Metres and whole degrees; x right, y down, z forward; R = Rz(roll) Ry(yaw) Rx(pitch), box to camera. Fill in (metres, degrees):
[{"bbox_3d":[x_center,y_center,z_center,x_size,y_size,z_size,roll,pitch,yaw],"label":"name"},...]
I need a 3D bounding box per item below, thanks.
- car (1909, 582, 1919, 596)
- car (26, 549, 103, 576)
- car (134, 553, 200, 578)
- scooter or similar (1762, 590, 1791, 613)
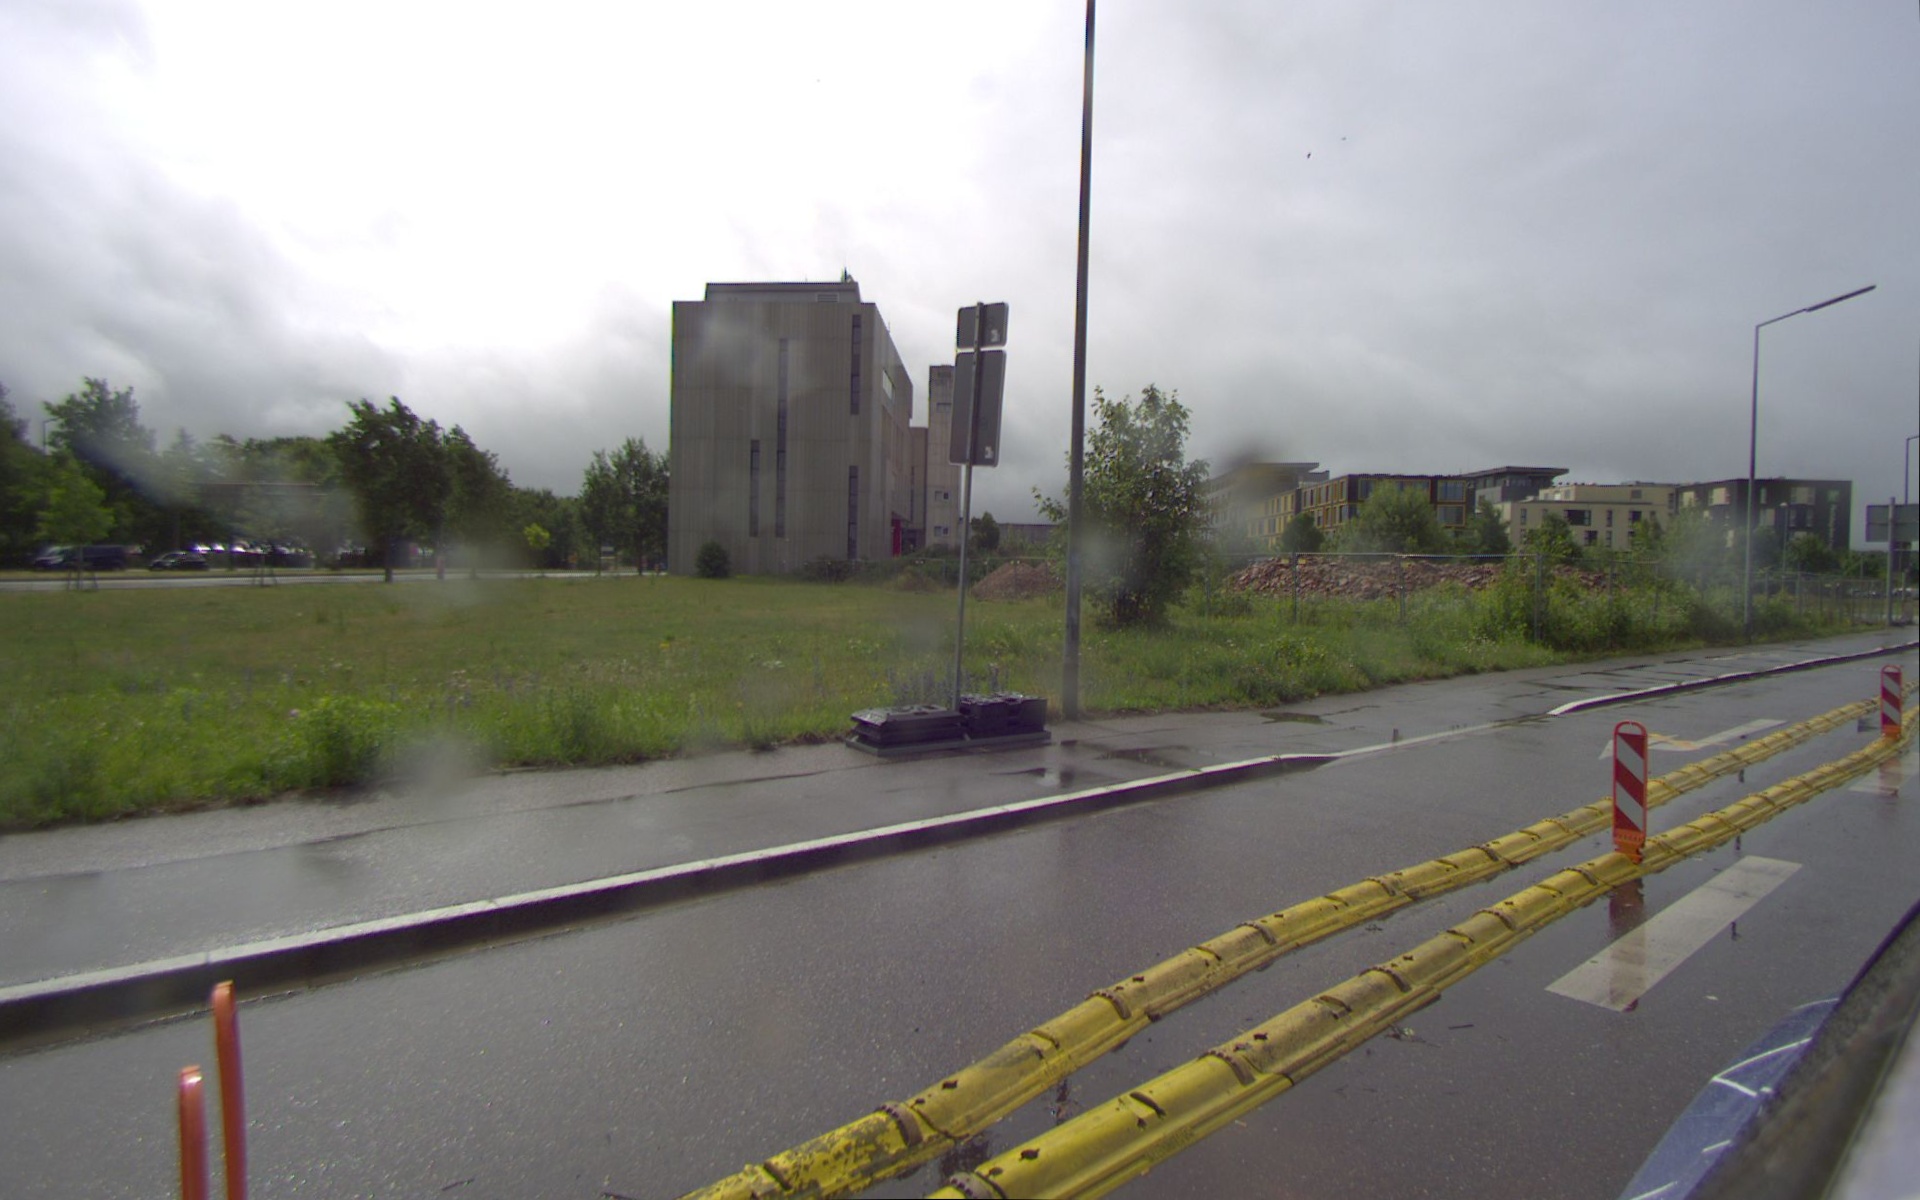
[{"bbox_3d":[143.902,-1.633,150.149,3.931,2.039,1.997,1,1,7],"label":"car"},{"bbox_3d":[-54.954,-2.281,62.169,1.515,1.578,3.521,1,2,4],"label":"car"},{"bbox_3d":[-52.392,-2.281,66.941,1.515,1.578,3.521,1,2,4],"label":"car"},{"bbox_3d":[44.152,0.078,54.745,0.473,1.164,1.197,1,2,-7],"label":"scooter or similar"}]
